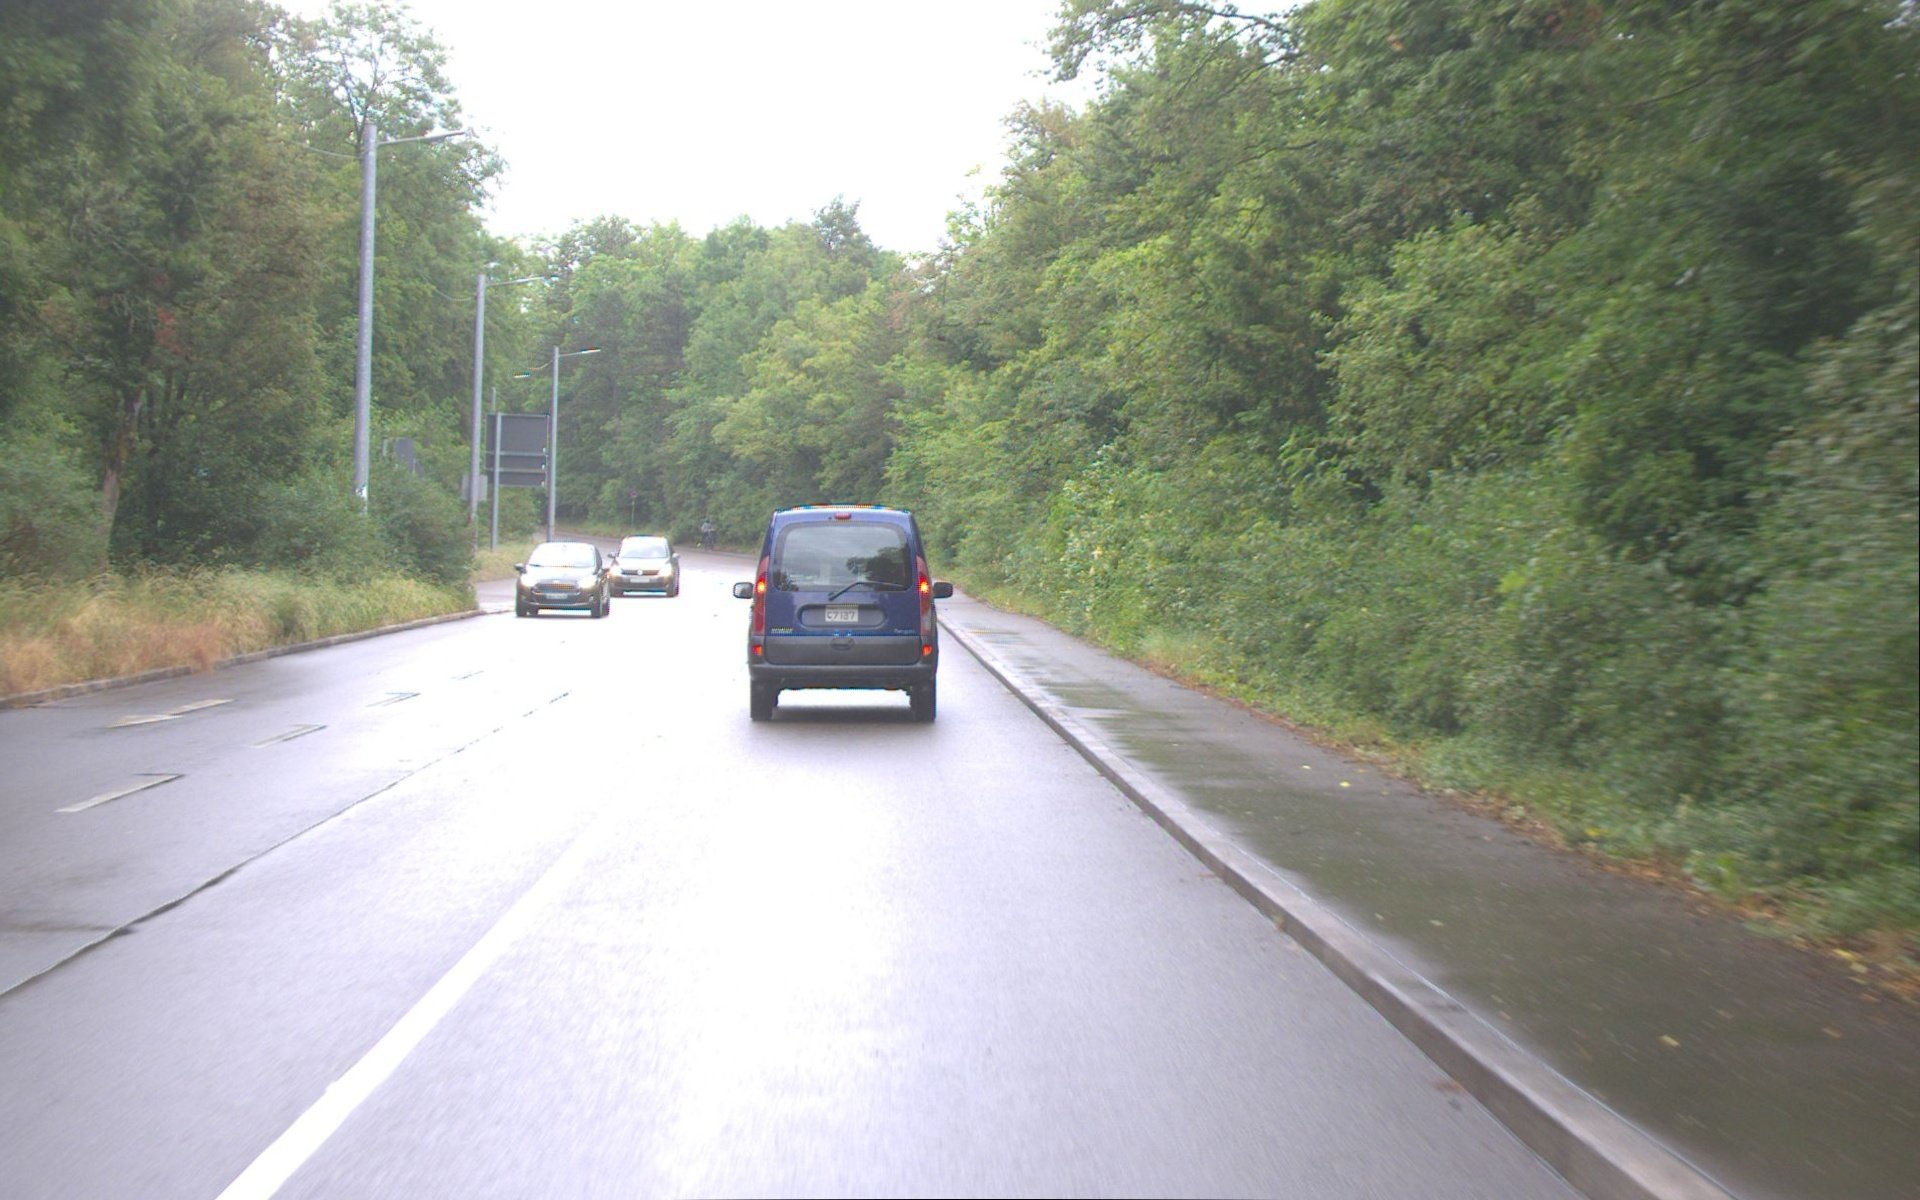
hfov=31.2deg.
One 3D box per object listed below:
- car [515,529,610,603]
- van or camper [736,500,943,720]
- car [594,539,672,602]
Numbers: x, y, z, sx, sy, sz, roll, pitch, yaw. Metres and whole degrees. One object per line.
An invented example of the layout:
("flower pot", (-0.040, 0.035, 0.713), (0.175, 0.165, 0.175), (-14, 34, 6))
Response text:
("car", (-7.961, -0.703, 69.068), (1.598, 1.436, 3.991), (0, 1, -2))
("van or camper", (-1.082, 0.032, 30.759), (1.712, 1.819, 4.001), (-1, 2, -2))
("car", (-8.776, -0.816, 92.458), (1.771, 1.605, 4.084), (2, 1, -2))
